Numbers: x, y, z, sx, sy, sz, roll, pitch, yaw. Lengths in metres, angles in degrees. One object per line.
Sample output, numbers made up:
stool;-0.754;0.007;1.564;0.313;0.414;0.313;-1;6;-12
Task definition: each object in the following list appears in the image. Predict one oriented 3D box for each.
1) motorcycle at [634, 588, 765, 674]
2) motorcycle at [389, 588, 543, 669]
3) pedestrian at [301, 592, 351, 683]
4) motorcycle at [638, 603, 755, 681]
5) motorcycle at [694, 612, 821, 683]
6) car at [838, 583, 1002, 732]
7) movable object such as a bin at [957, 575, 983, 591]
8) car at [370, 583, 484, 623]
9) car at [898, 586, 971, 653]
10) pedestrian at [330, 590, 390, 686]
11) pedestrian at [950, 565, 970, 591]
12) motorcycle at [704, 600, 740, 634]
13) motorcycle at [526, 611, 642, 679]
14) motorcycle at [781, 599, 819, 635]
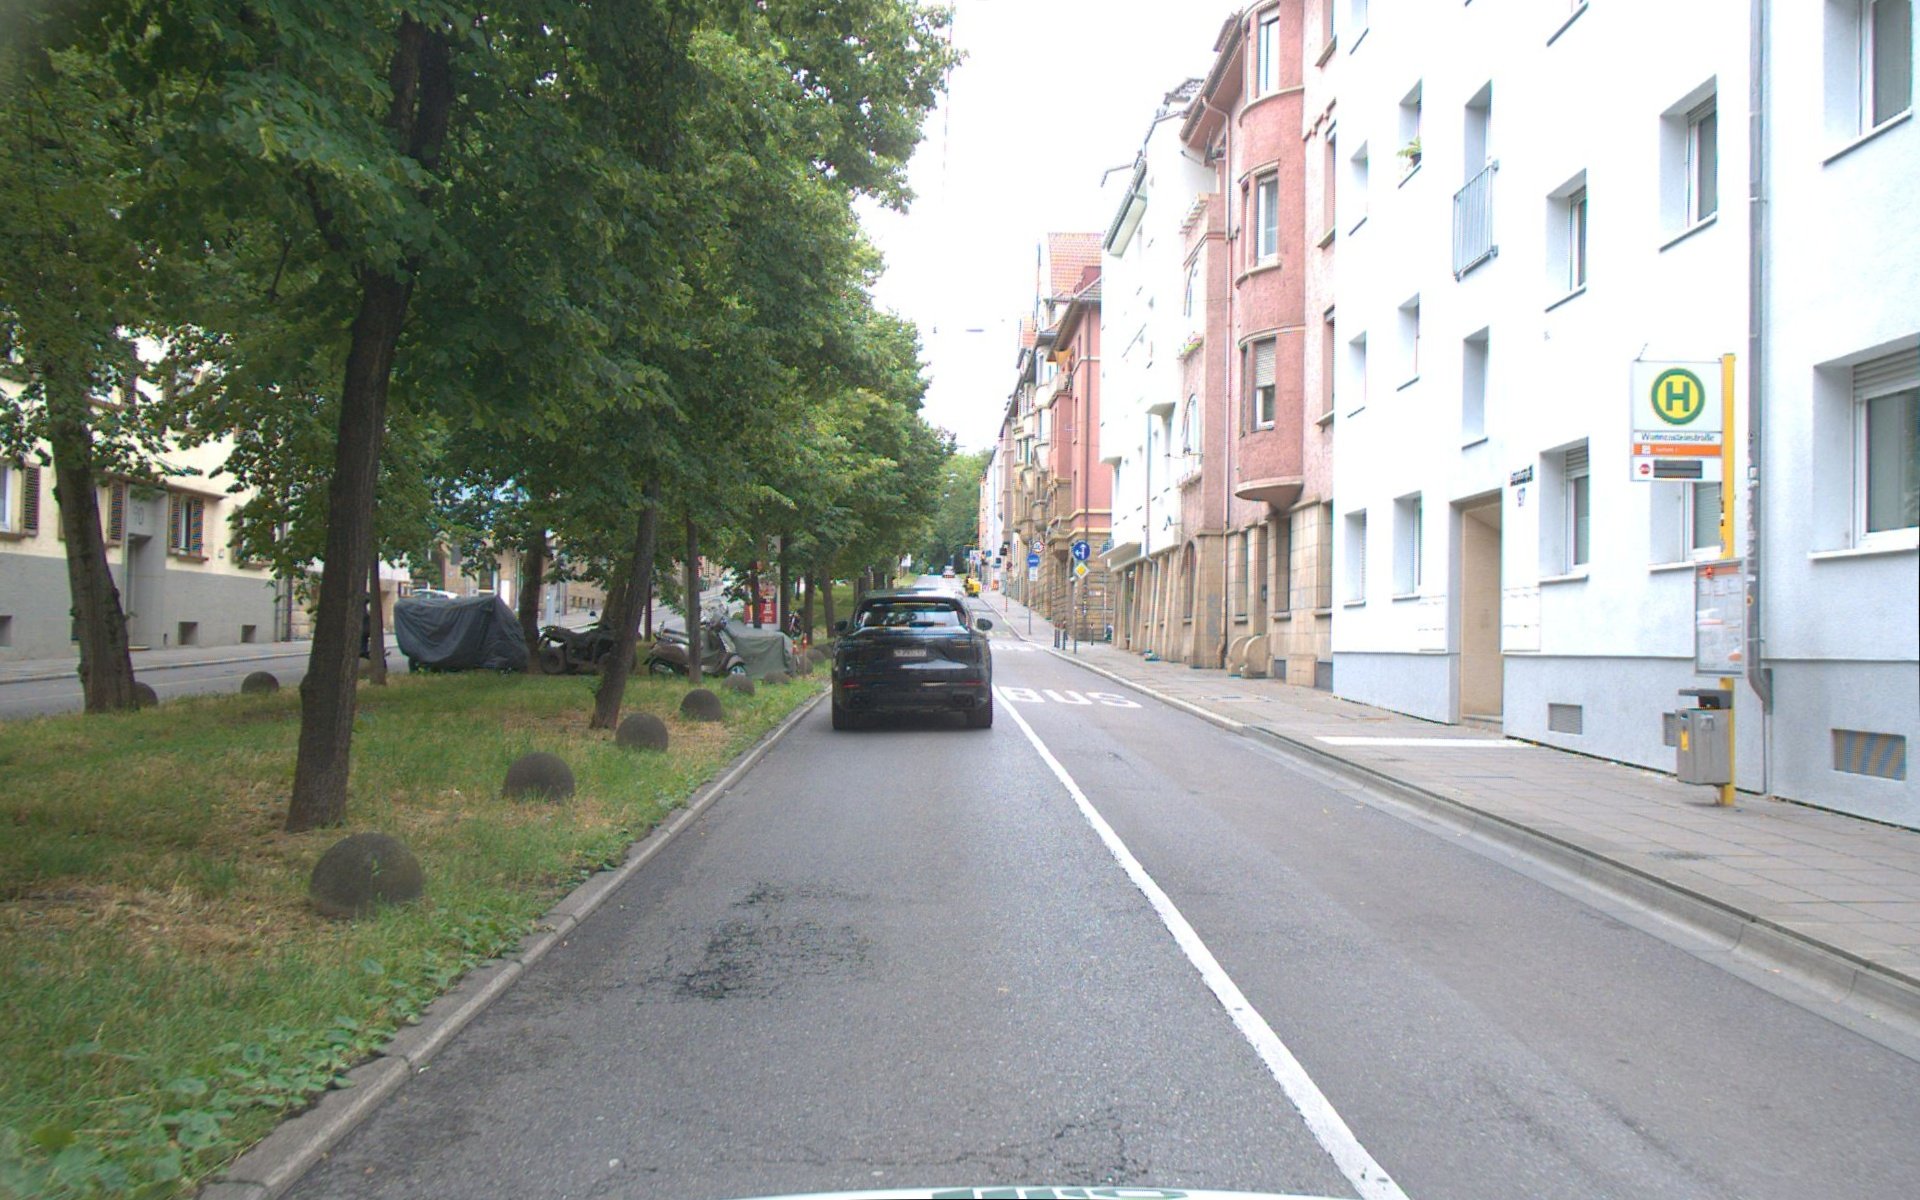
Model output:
motorcycle;-4.633;0.536;29.490;2.148;1.464;0.874;1;0;1
motorcycle;-8.507;0.480;28.555;2.334;1.340;1.045;1;0;-3
pedestrian;-11.643;0.685;30.382;0.649;1.644;0.579;1;0;1
motorcycle;-4.555;0.732;28.692;1.886;1.319;0.893;1;-2;-3
motorcycle;-3.827;0.901;31.475;2.308;1.257;1.033;1;1;-3
car;-0.551;0.656;21.116;1.865;1.695;4.133;1;0;-3
movable object such as a bin;0.827;-1.408;135.149;1.230;1.296;1.818;1;0;-42
car;-21.316;0.098;66.219;3.906;1.523;2.000;1;0;-1
car;-0.703;0.523;46.937;1.953;1.784;3.999;1;0;-1
pedestrian;-10.637;0.663;29.349;0.621;1.641;0.765;2;0;16
pedestrian;-0.014;-1.798;136.086;1.291;2.049;1.007;1;0;-36
motorcycle;-8.012;0.588;55.720;0.882;1.126;2.250;0;-2;-1
motorcycle;-7.232;0.859;31.889;1.986;1.257;0.897;1;0;4
motorcycle;-5.398;0.554;55.904;1.041;1.168;2.448;0;0;-1
